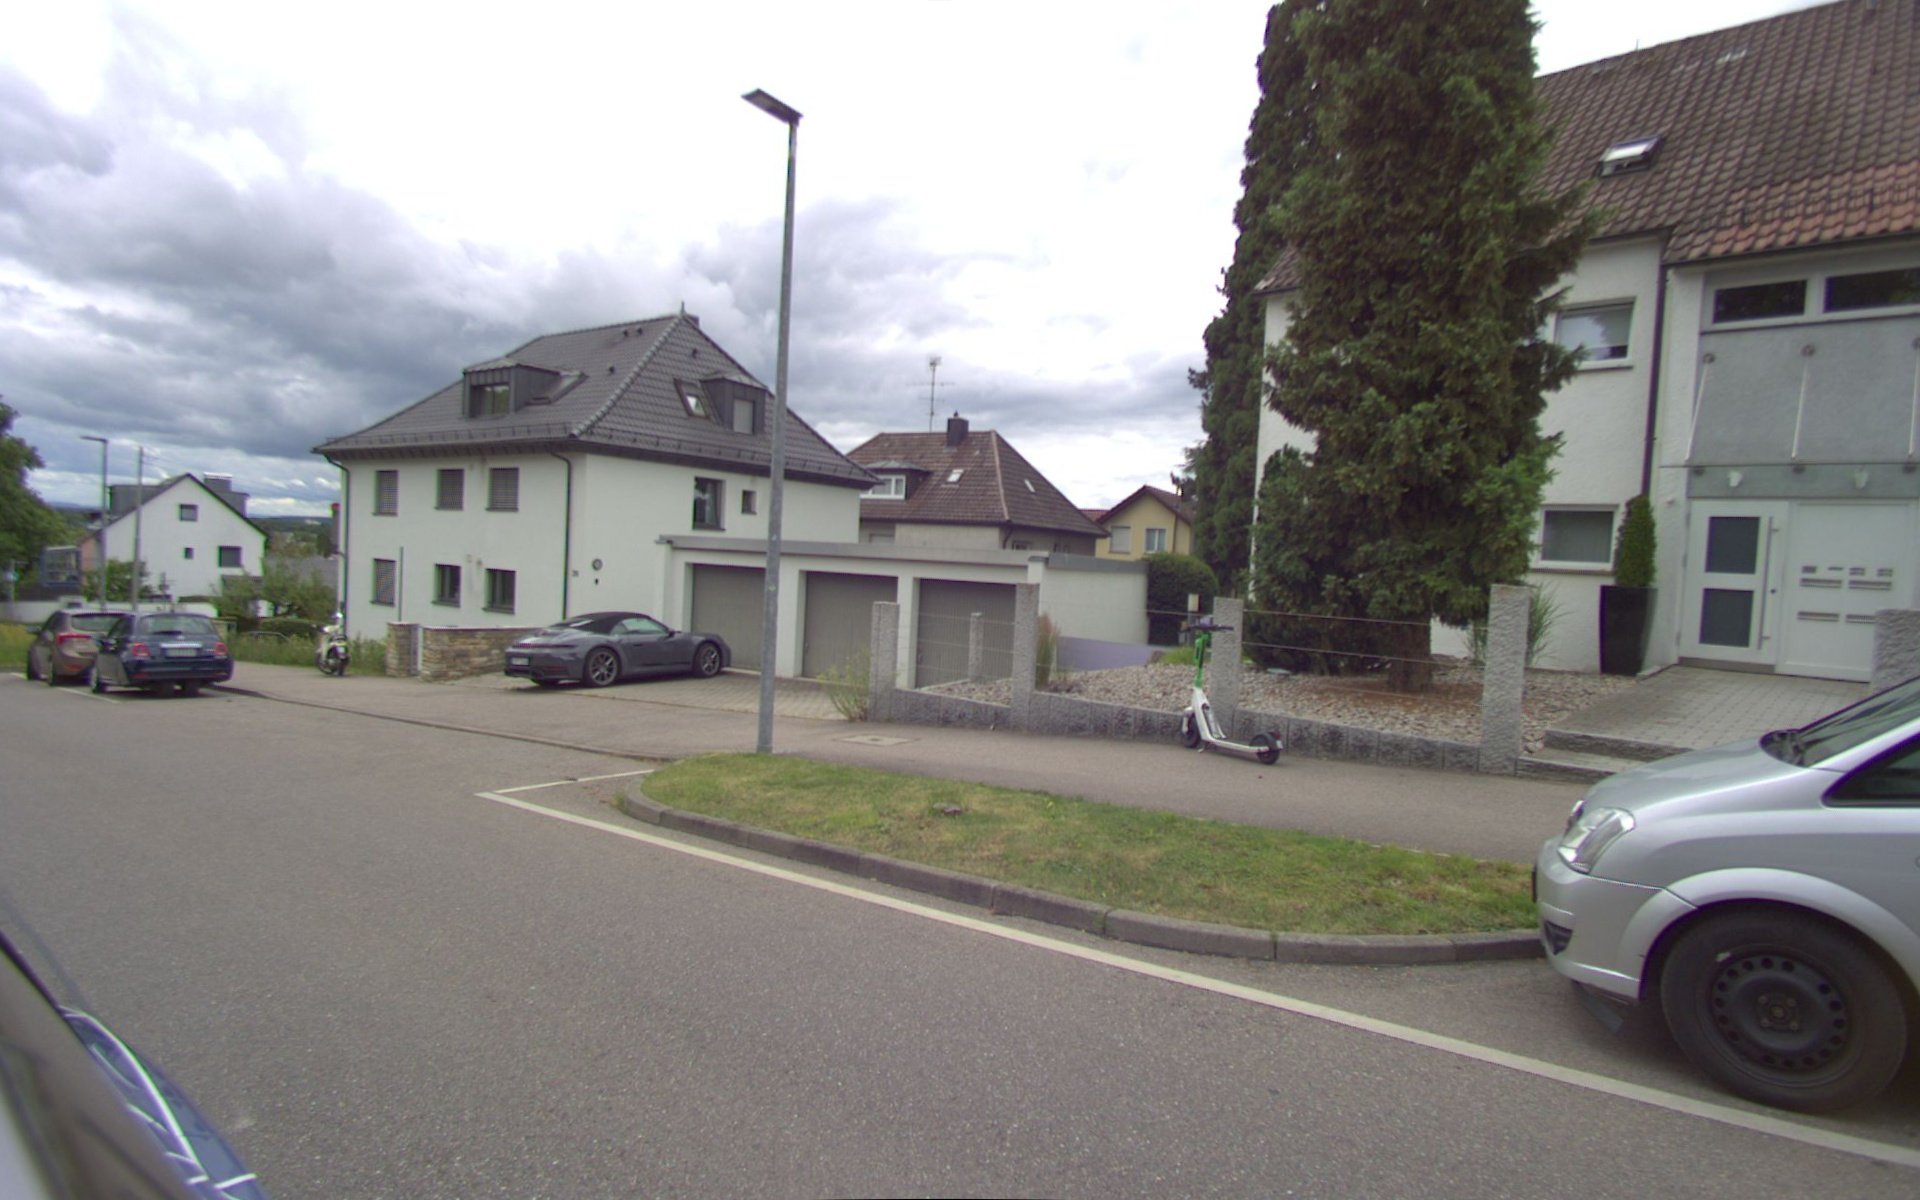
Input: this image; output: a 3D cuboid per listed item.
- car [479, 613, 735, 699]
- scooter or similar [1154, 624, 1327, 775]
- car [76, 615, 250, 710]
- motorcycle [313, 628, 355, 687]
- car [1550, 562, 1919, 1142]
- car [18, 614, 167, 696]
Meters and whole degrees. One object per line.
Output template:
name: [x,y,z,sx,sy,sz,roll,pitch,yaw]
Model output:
car: [-6.446,0.954,18.902,1.900,1.378,4.250,-1,-1,34]
scooter or similar: [2.390,0.809,8.769,0.468,1.157,1.458,-2,1,-34]
car: [-14.643,1.051,18.538,3.505,1.548,1.858,-1,-1,40]
motorcycle: [-13.703,1.234,22.141,0.424,1.169,1.865,2,-1,-42]
car: [3.968,0.687,2.754,3.852,1.575,1.743,-1,-2,40]
car: [-18.750,1.100,21.829,3.869,1.597,1.858,-1,-1,40]
